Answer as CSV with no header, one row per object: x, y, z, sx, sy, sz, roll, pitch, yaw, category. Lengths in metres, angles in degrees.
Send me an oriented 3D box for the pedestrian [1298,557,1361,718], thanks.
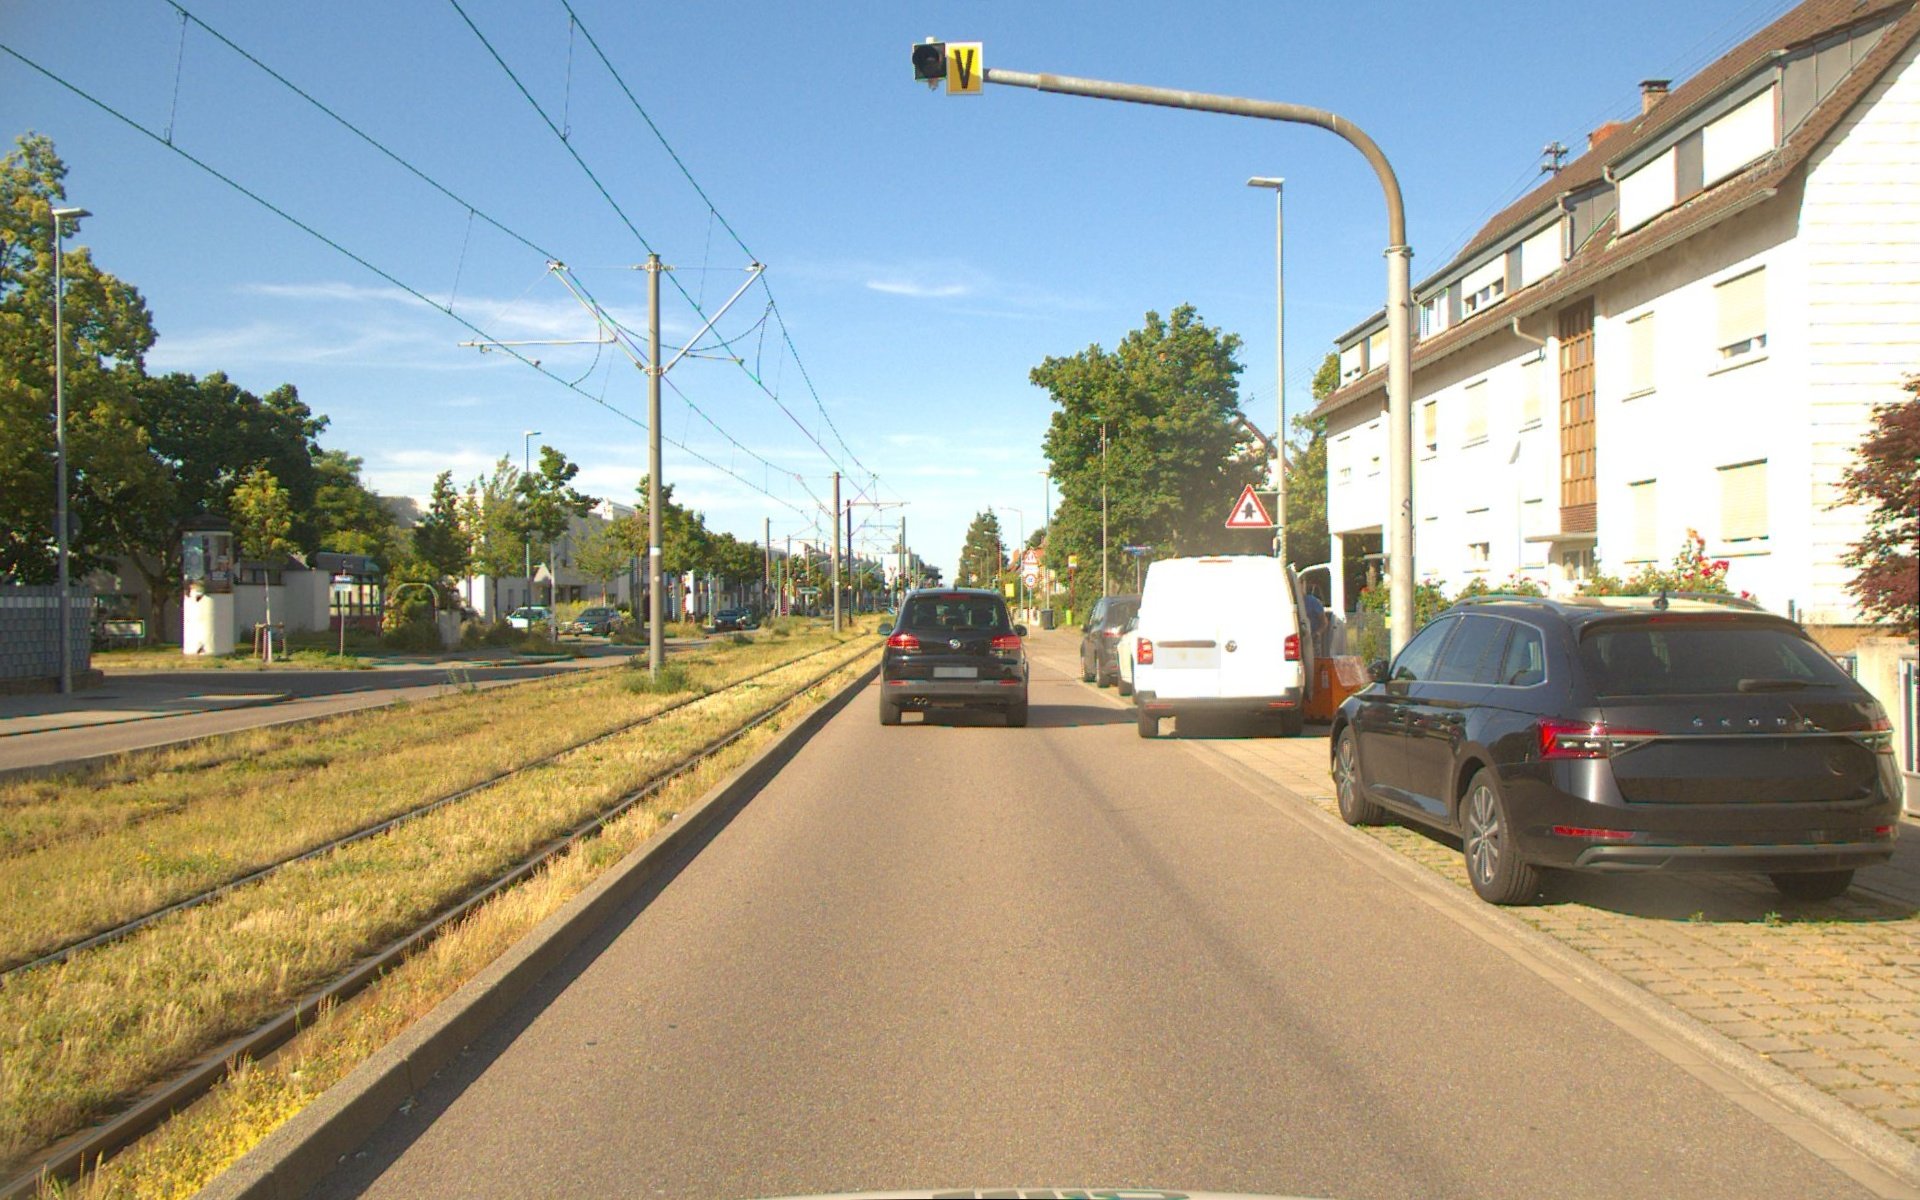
4.574,0.458,20.518,0.684,1.946,0.759,1,-1,8,pedestrian

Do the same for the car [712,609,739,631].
-15.992,1.365,112.898,1.656,1.413,4.380,-2,0,-7,car

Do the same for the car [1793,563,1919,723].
11.131,0.392,16.582,4.617,1.503,1.906,-1,-1,-3,car

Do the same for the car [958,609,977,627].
0.717,1.749,163.024,1.740,1.699,3.998,0,0,-3,car

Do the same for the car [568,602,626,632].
-18.600,0.861,84.939,1.772,1.486,4.319,1,-1,4,car

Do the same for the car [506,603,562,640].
-18.401,0.914,71.578,1.513,1.517,3.774,1,-1,-2,car

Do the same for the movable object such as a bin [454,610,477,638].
-25.871,1.241,86.509,0.650,1.459,1.255,1,-1,7,movable object such as a bin

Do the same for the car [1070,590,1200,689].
3.229,0.700,31.408,1.755,1.657,4.859,-3,0,-2,car

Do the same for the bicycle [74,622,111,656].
-28.644,1.283,54.635,1.020,1.077,0.304,-1,0,-18,bicycle

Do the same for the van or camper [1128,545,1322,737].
3.104,0.435,20.004,1.985,1.990,5.299,-1,0,7,van or camper

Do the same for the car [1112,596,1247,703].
3.342,0.736,25.873,1.622,1.519,4.160,-1,-1,1,car

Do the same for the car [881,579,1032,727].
-0.120,0.633,21.133,1.740,1.699,3.998,0,-1,-3,car

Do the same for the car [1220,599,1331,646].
10.891,0.786,57.218,3.520,1.557,1.647,-1,-1,1,car

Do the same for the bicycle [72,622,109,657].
-28.530,1.292,54.283,1.037,1.102,0.303,-1,0,-18,bicycle

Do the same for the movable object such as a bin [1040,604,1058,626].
4.755,0.801,88.617,0.955,1.130,1.171,-1,0,3,movable object such as a bin

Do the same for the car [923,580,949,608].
-2.238,-0.548,158.056,2.345,2.609,5.529,0,0,0,car

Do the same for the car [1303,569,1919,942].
3.418,0.675,9.574,1.713,1.520,5.154,-2,-1,0,car
